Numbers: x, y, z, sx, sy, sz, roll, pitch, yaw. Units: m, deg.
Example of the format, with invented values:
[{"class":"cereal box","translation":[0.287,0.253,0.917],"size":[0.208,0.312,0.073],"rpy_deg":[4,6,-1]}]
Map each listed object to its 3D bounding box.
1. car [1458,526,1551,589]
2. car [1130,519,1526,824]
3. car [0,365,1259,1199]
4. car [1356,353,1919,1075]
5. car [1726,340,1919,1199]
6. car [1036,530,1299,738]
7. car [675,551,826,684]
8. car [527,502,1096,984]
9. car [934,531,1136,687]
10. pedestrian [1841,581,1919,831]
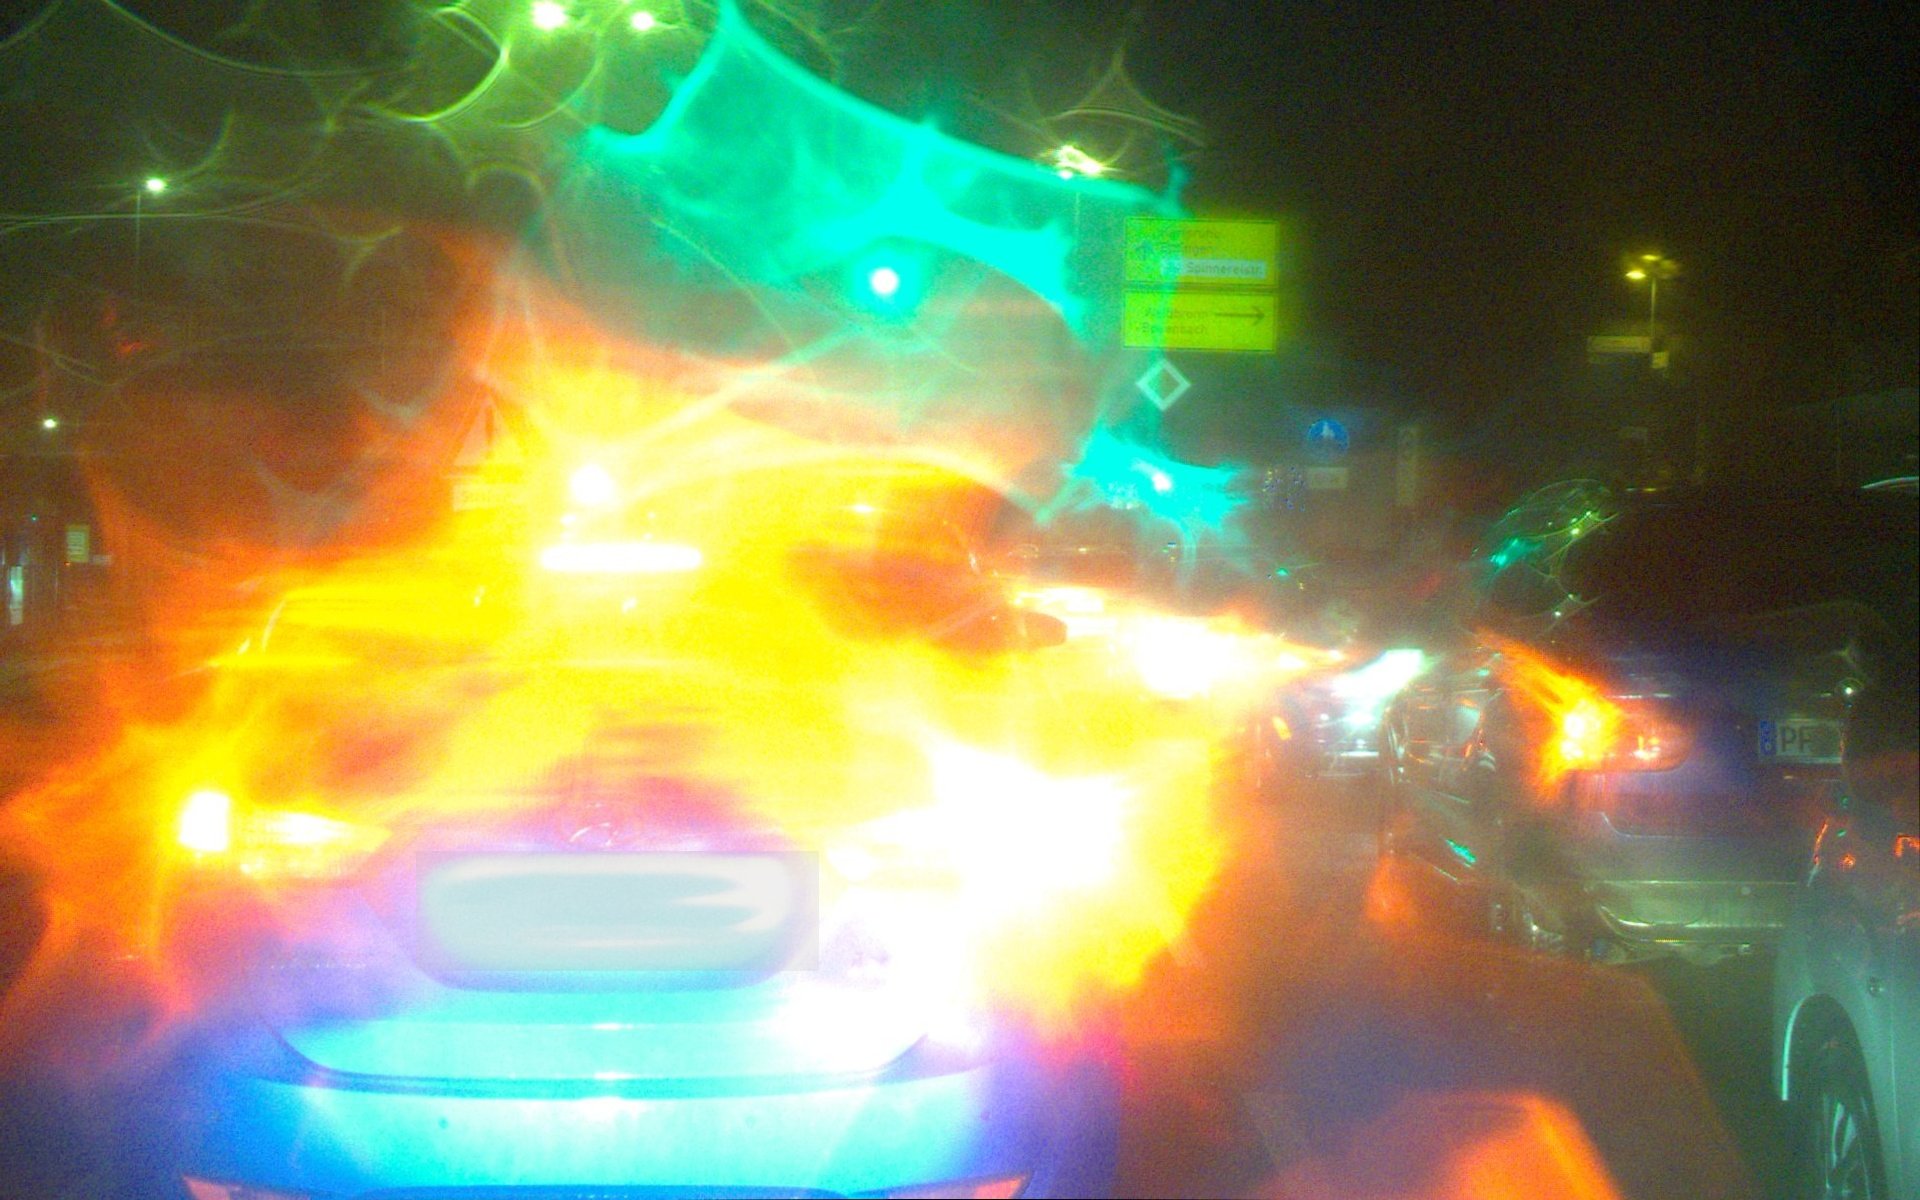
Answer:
[{"class":"car","translation":[14.894,-1.166,94.170],"size":[1.865,1.641,3.963],"rpy_deg":[-2,1,0]},{"class":"car","translation":[2.203,0.392,21.640],"size":[1.993,1.712,4.000],"rpy_deg":[1,0,-1]},{"class":"car","translation":[-0.590,0.481,7.647],"size":[2.014,1.711,4.452],"rpy_deg":[1,0,-1]},{"class":"car","translation":[2.609,0.314,11.794],"size":[1.968,2.040,4.000],"rpy_deg":[1,0,-1]},{"class":"car","translation":[2.461,0.536,4.565],"size":[1.851,1.858,4.341],"rpy_deg":[1,0,-1]},{"class":"car","translation":[1.740,0.259,30.072],"size":[1.993,1.664,4.000],"rpy_deg":[1,0,-1]},{"class":"car","translation":[-3.059,0.221,49.604],"size":[1.993,1.818,4.001],"rpy_deg":[1,0,-6]},{"class":"car","translation":[-0.550,0.488,14.188],"size":[1.993,1.678,4.000],"rpy_deg":[1,0,-1]},{"class":"car","translation":[0.851,0.084,41.470],"size":[1.993,1.767,4.001],"rpy_deg":[1,0,-5]},{"class":"pedestrian","translation":[6.469,0.721,23.659],"size":[0.622,1.696,0.541],"rpy_deg":[1,0,-3]}]
